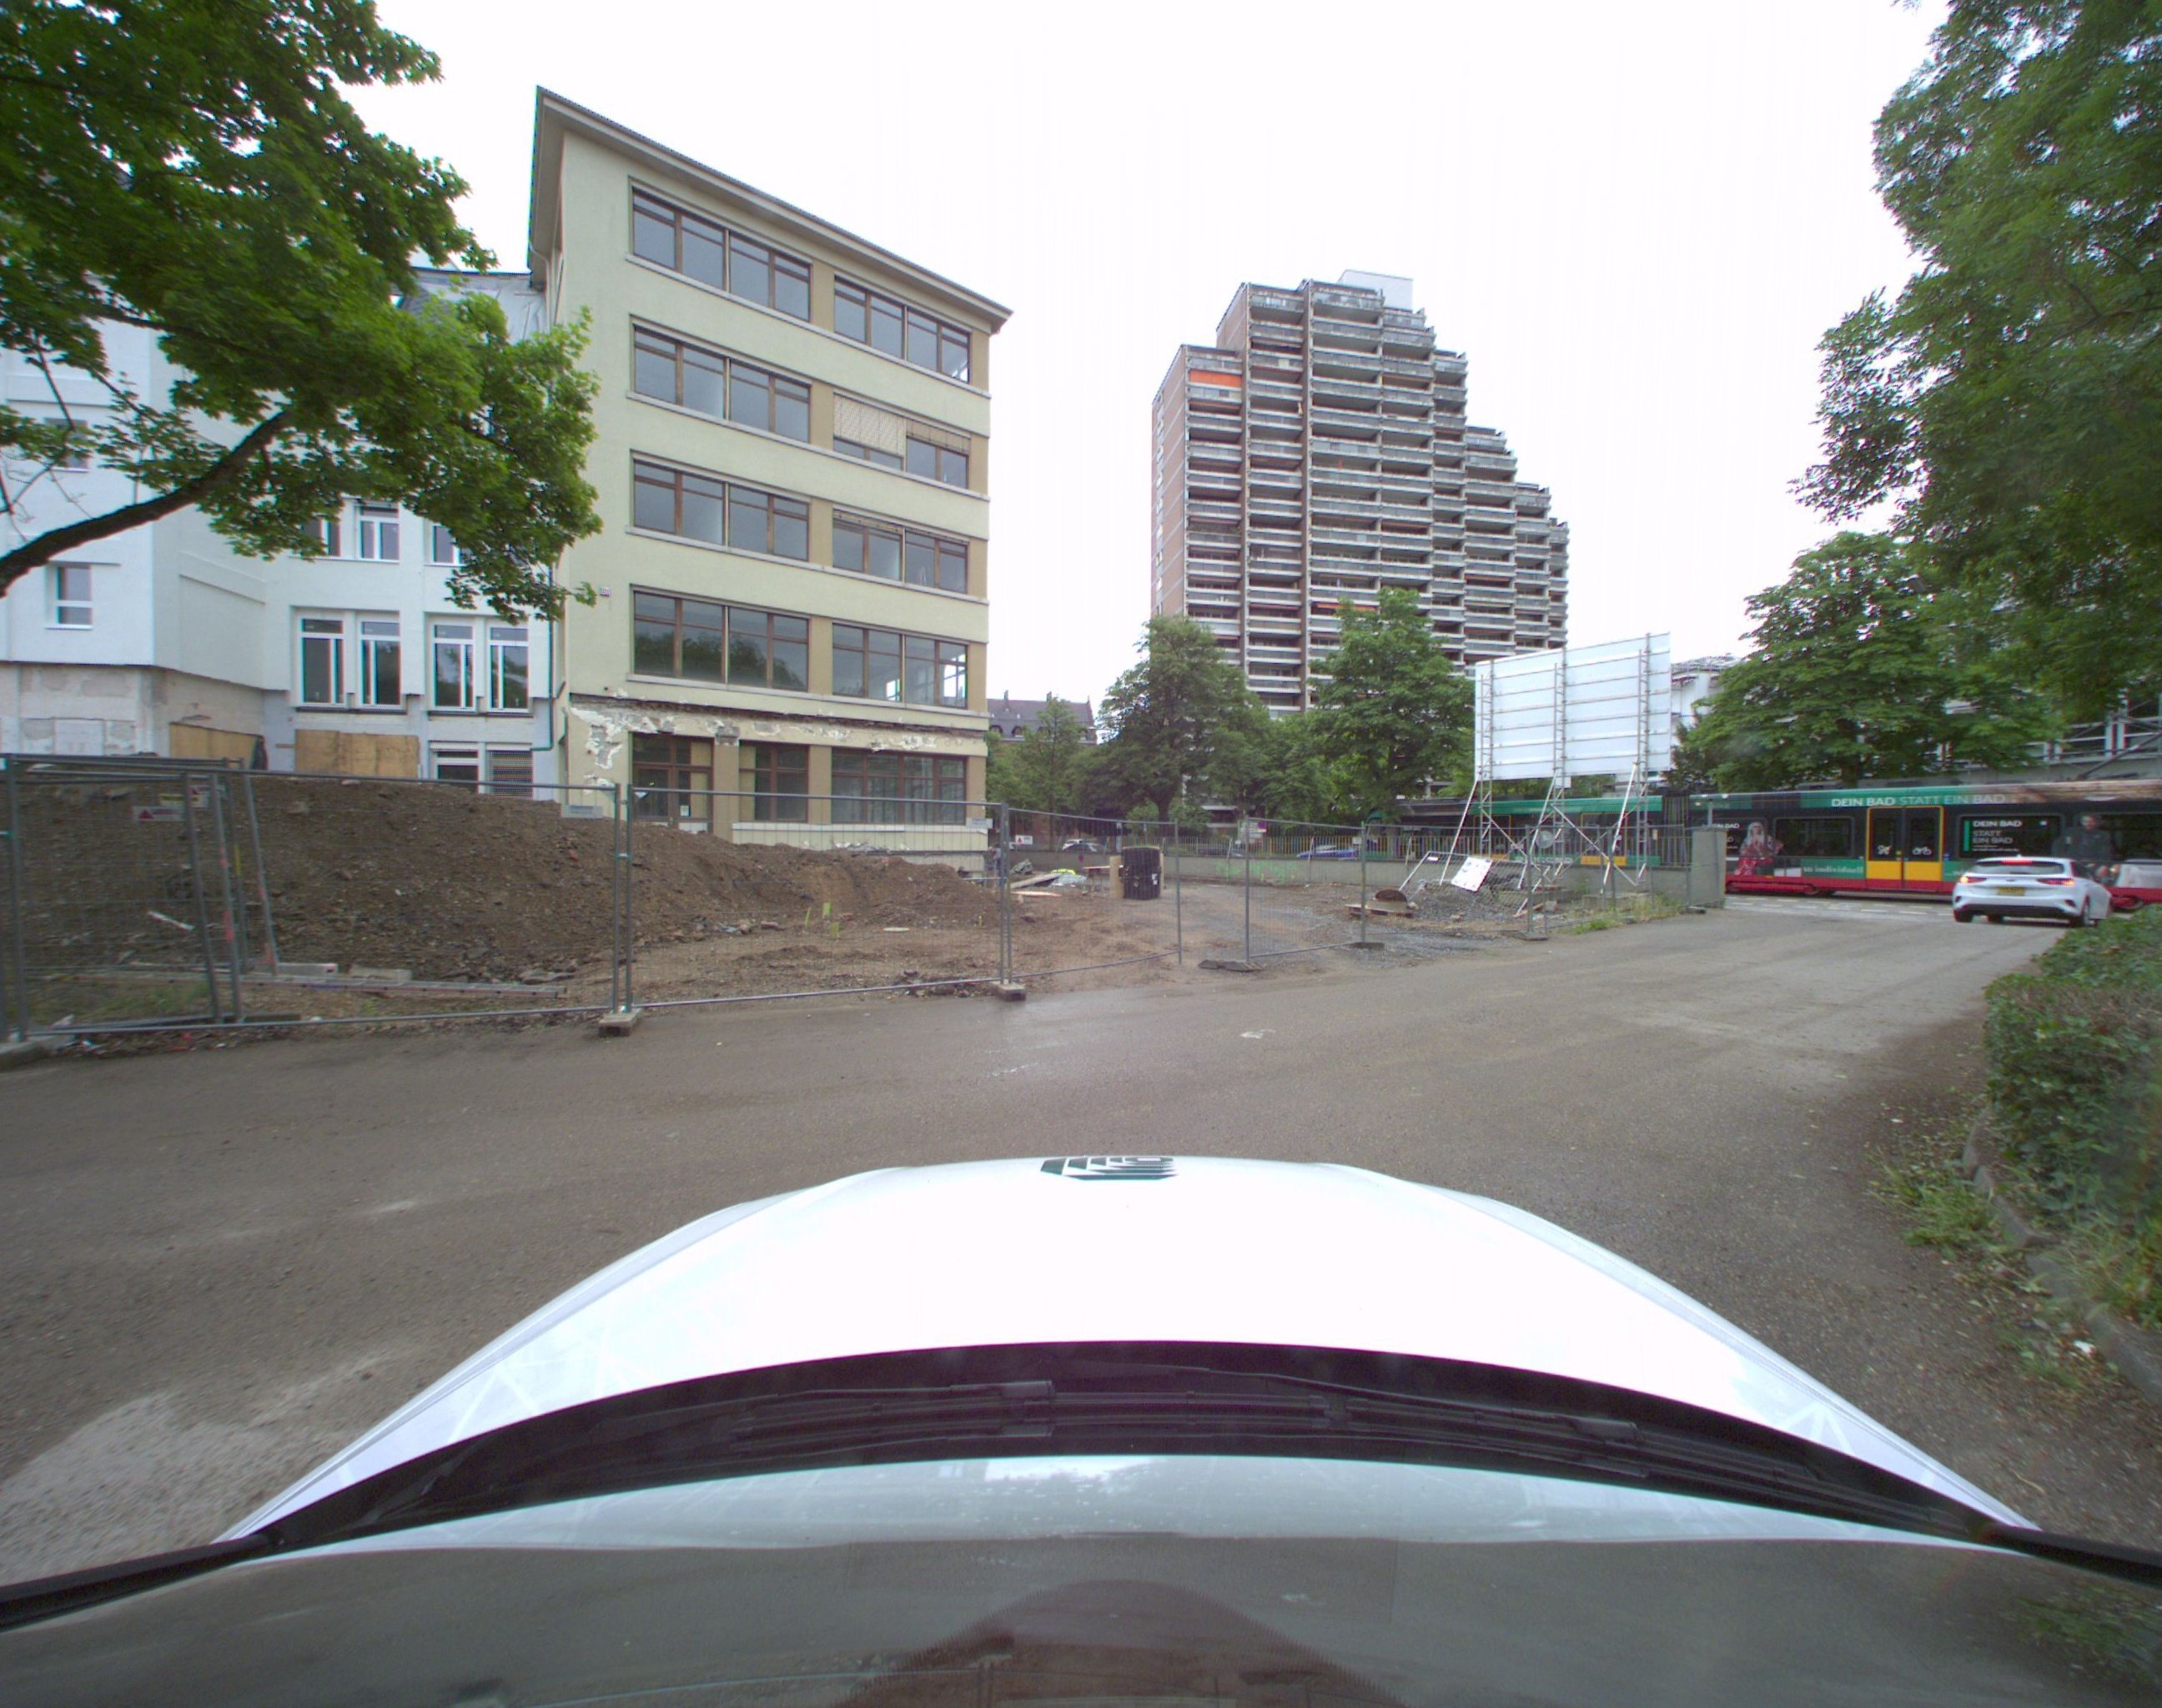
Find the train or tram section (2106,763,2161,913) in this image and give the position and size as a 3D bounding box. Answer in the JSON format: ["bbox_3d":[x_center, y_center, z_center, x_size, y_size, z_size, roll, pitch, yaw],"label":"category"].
[{"bbox_3d":[30.829,-0.321,15.115,2.680,3.614,14.609,0,1,-36],"label":"train or tram section"}]

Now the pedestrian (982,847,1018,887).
[{"bbox_3d":[-2.973,0.469,29.961,0.988,1.437,0.920,0,0,-40],"label":"pedestrian"}]

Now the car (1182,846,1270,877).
[{"bbox_3d":[6.867,0.320,38.764,1.841,1.418,3.956,0,1,-37],"label":"car"}]

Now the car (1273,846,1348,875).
[{"bbox_3d":[12.979,0.330,46.221,1.610,1.519,3.956,0,1,-36],"label":"car"}]

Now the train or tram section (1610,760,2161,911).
[{"bbox_3d":[23.641,-0.512,24.937,2.680,3.614,12.321,0,1,-36],"label":"train or tram section"}]

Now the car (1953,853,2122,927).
[{"bbox_3d":[20.588,0.770,17.507,3.991,1.433,1.764,3,-1,-31],"label":"car"}]

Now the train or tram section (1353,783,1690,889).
[{"bbox_3d":[17.335,-0.679,33.642,2.680,3.614,12.321,0,1,-36],"label":"train or tram section"}]

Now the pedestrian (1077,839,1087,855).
[{"bbox_3d":[0.074,-0.662,80.266,0.516,1.527,0.849,1,1,42],"label":"pedestrian"}]
